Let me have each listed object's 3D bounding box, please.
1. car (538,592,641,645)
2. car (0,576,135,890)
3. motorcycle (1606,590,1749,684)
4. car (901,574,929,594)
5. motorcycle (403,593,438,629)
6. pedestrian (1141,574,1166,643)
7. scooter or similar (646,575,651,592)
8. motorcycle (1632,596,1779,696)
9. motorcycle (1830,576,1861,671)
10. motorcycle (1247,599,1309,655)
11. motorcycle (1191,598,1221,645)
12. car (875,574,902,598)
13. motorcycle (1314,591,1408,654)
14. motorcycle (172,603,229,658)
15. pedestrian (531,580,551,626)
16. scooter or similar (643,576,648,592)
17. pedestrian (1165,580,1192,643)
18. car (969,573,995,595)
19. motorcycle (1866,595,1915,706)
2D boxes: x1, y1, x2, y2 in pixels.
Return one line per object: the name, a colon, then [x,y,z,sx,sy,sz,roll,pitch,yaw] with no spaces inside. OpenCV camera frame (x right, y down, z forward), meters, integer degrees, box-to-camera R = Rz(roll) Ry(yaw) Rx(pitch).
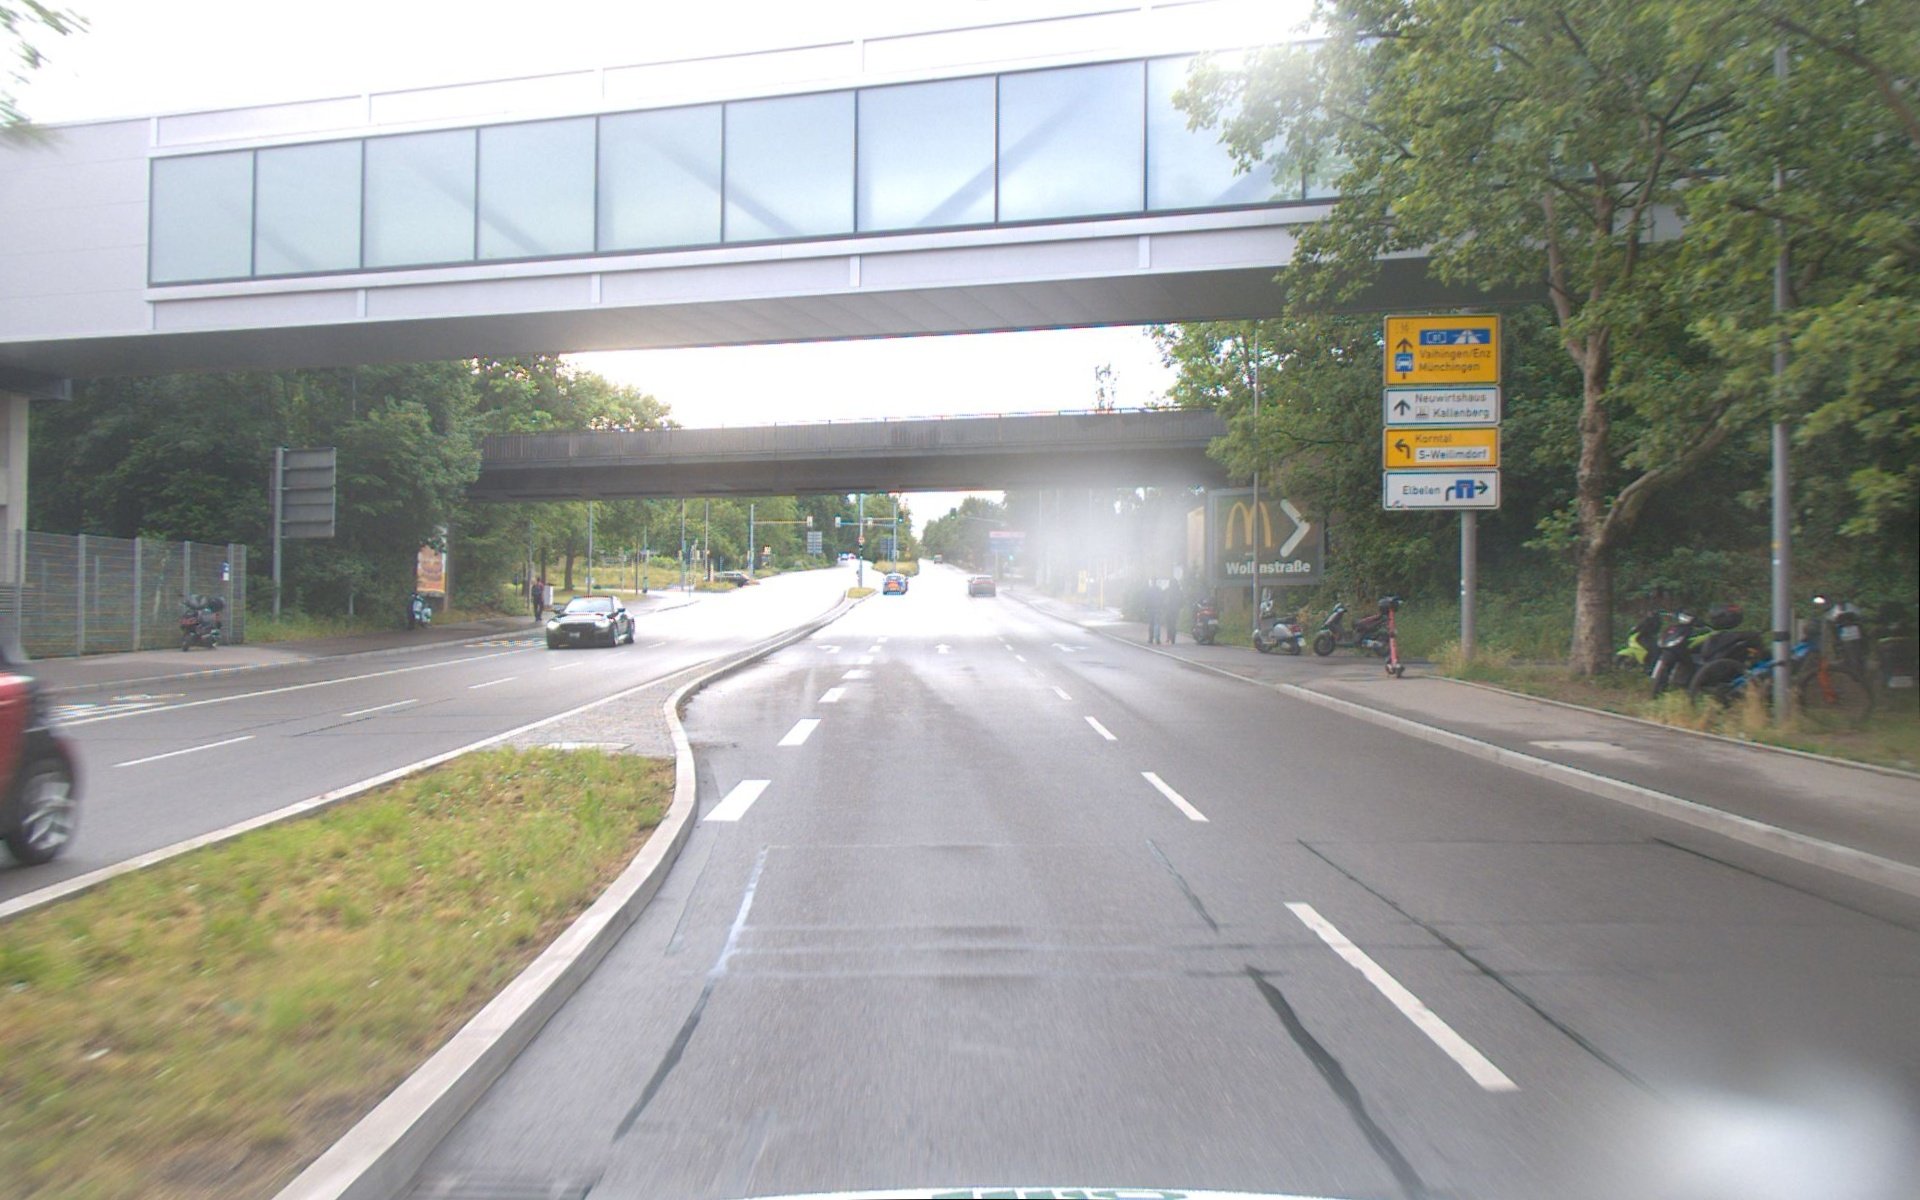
car: [-10.446,0.479,46.963,2.022,1.385,4.755,-1,1,-2]
car: [-5.776,0.714,8.095,1.553,1.633,3.855,-2,0,-1]
motorcycle: [10.209,0.506,23.582,0.623,1.274,1.831,-1,1,-35]
car: [-3.912,-1.344,142.759,2.124,1.610,4.658,2,0,-6]
motorcycle: [-18.474,0.383,56.666,0.459,1.179,1.933,-1,1,2]
pedestrian: [5.016,0.218,42.926,0.598,1.751,0.892,-1,0,9]
scooter or similar: [-23.997,-1.276,127.273,0.306,1.239,1.303,0,2,-14]
motorcycle: [9.851,0.592,21.867,1.818,1.274,0.627,0,0,-17]
motorcycle: [12.755,0.309,23.836,0.341,1.301,2.069,0,1,27]
motorcycle: [7.239,0.593,37.713,0.462,1.234,1.933,-1,0,-19]
motorcycle: [6.231,0.526,41.977,0.460,1.156,1.818,-1,0,-1]
car: [-5.514,-1.089,127.631,2.035,1.748,4.196,2,0,-3]
motorcycle: [8.692,0.480,35.883,1.904,1.320,0.546,0,0,34]
motorcycle: [-18.127,0.710,39.507,0.459,1.226,1.996,-1,1,-1]
pedestrian: [-17.096,0.128,67.548,0.508,1.847,0.800,1,1,9]
scooter or similar: [-23.865,-1.222,125.583,0.306,1.239,1.303,0,2,-15]
pedestrian: [5.639,0.293,42.711,0.636,1.624,0.579,-1,0,11]
car: [1.561,-1.156,118.544,1.709,1.495,4.165,1,1,-2]
motorcycle: [11.648,0.605,20.695,0.510,1.301,1.851,0,1,30]
